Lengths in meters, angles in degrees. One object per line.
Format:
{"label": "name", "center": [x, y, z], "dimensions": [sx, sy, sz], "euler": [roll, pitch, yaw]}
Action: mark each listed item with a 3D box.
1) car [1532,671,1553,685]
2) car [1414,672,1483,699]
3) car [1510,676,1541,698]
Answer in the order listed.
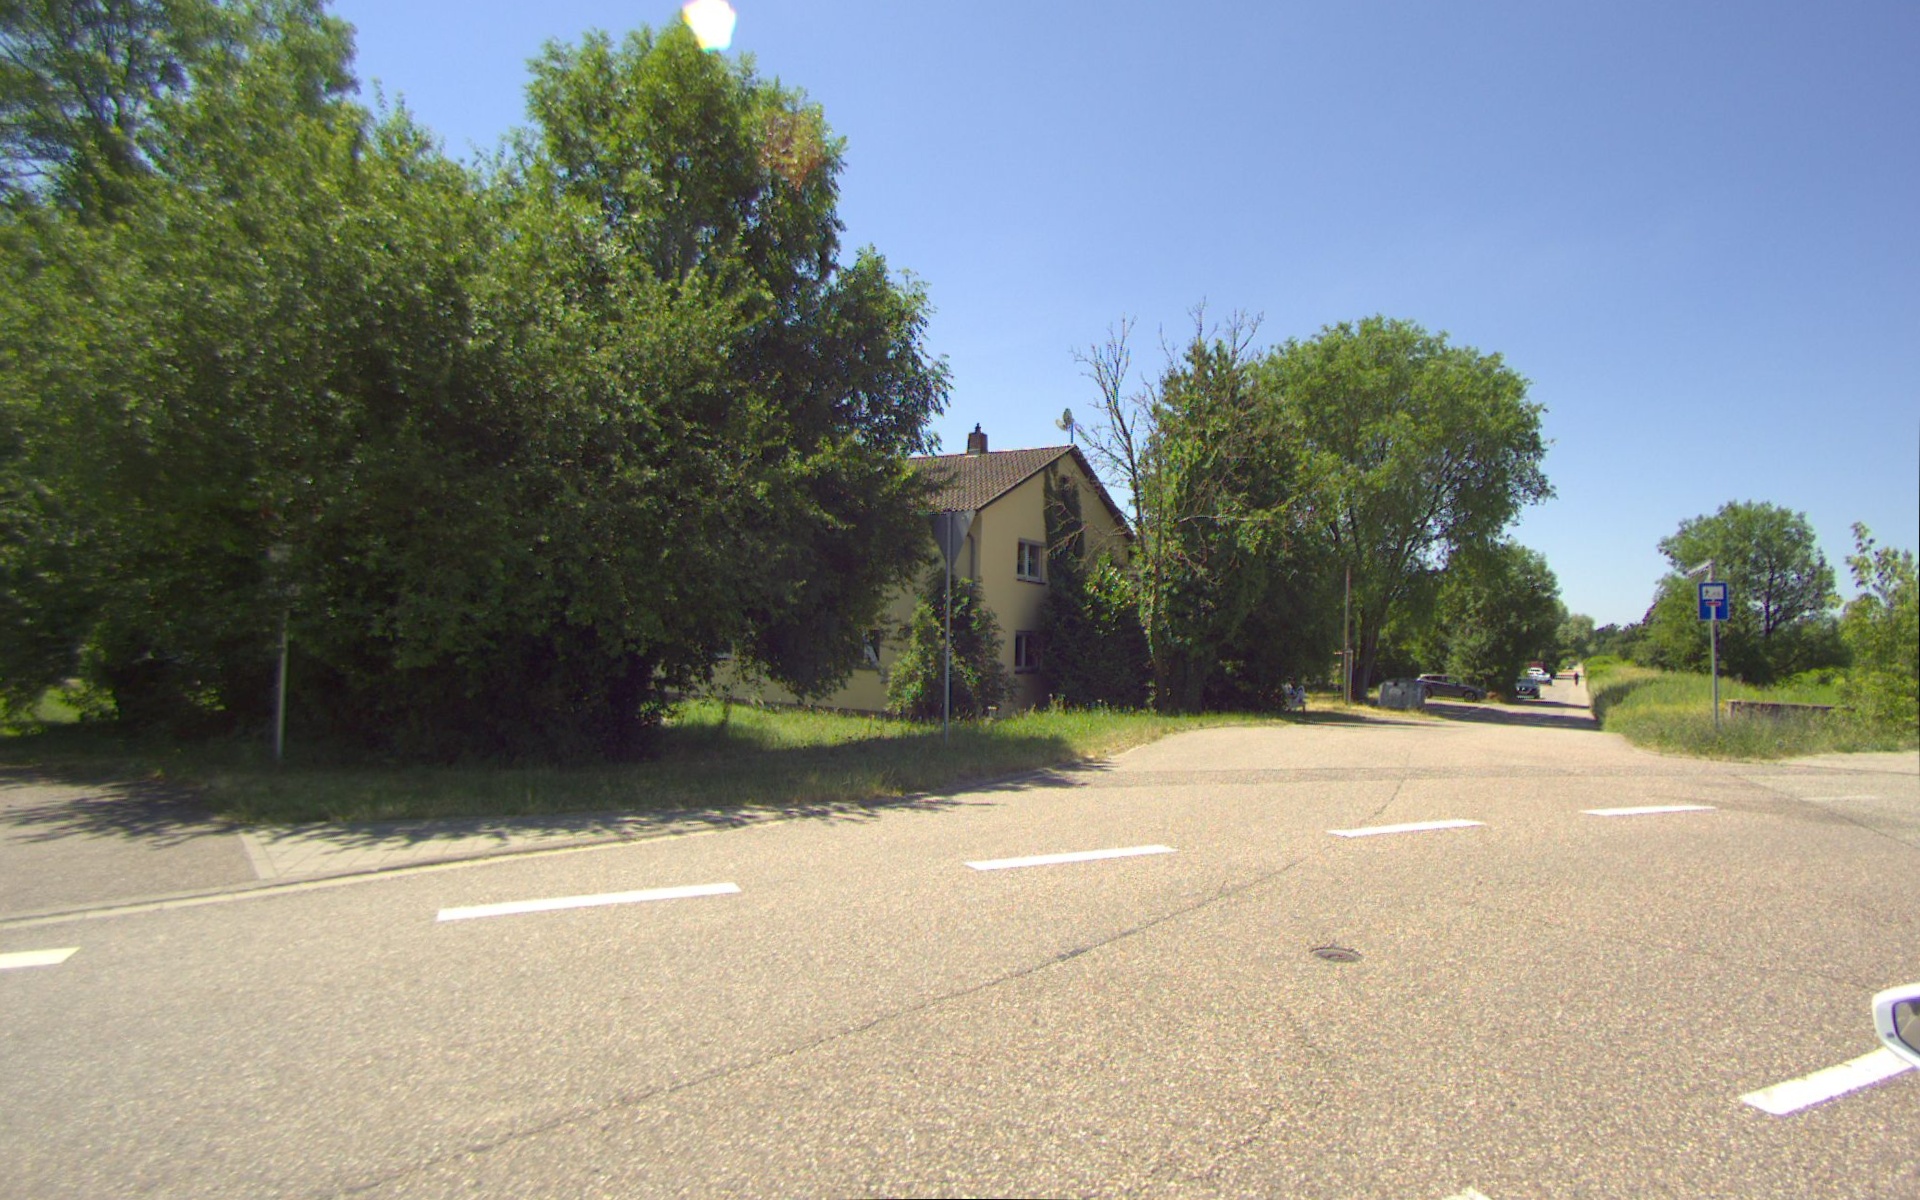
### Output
{"label": "car", "center": [70.125, 9.362, 120.972], "dimensions": [1.963, 1.617, 3.997], "euler": [0, -3, 26]}
{"label": "car", "center": [32.532, 5.651, 66.911], "dimensions": [3.930, 1.591, 1.996], "euler": [-1, -3, 32]}
{"label": "car", "center": [45.170, 6.918, 80.336], "dimensions": [1.963, 1.617, 3.997], "euler": [0, -3, 26]}
